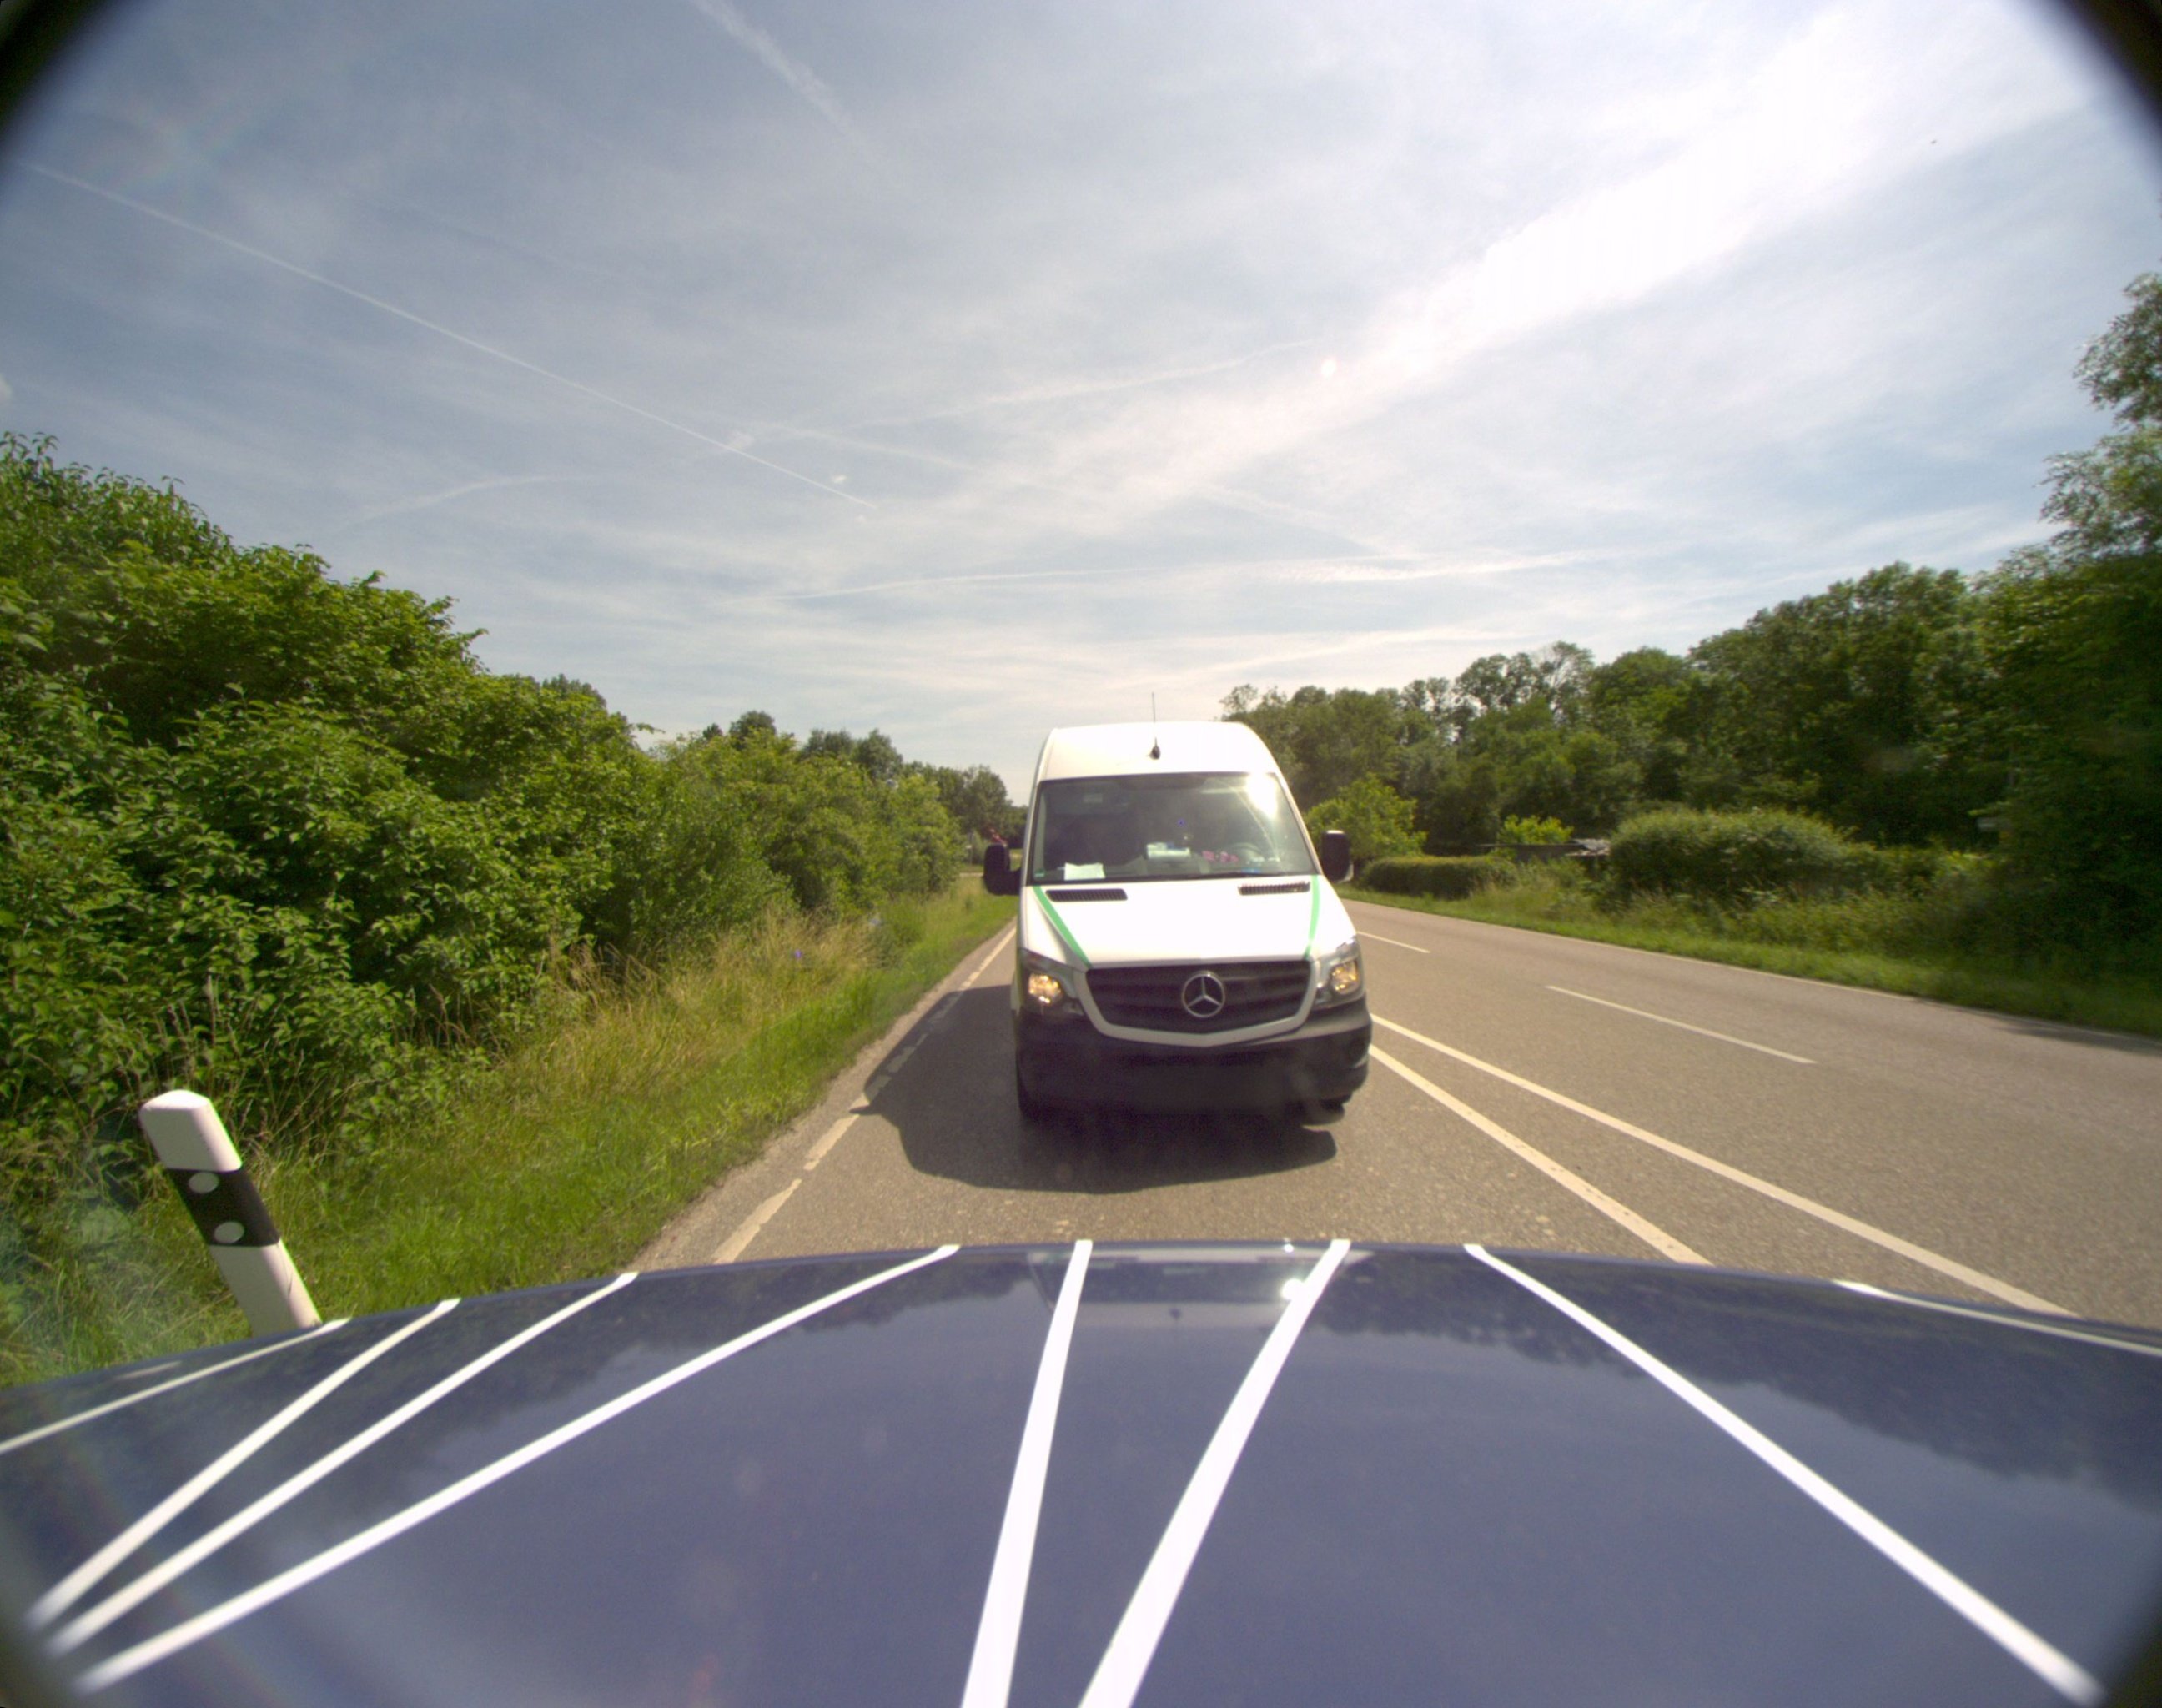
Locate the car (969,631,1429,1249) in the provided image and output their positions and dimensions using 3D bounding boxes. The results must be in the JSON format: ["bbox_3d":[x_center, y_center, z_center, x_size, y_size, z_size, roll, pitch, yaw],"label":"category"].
[{"bbox_3d":[0.449,0.355,6.178,1.961,2.655,5.679,-2,1,-2],"label":"car"}]

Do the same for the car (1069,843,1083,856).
[{"bbox_3d":[-0.663,-0.576,102.349,1.848,1.692,4.242,0,0,0],"label":"car"}]

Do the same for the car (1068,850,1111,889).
[{"bbox_3d":[0.380,0.682,35.526,1.848,1.692,4.242,0,0,0],"label":"car"}]

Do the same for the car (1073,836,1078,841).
[{"bbox_3d":[-1.789,-4.964,239.389,1.492,1.593,3.689,-2,2,-1],"label":"car"}]

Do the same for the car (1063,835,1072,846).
[{"bbox_3d":[-3.028,-2.998,167.889,1.999,2.166,3.998,-2,2,-1],"label":"car"}]
